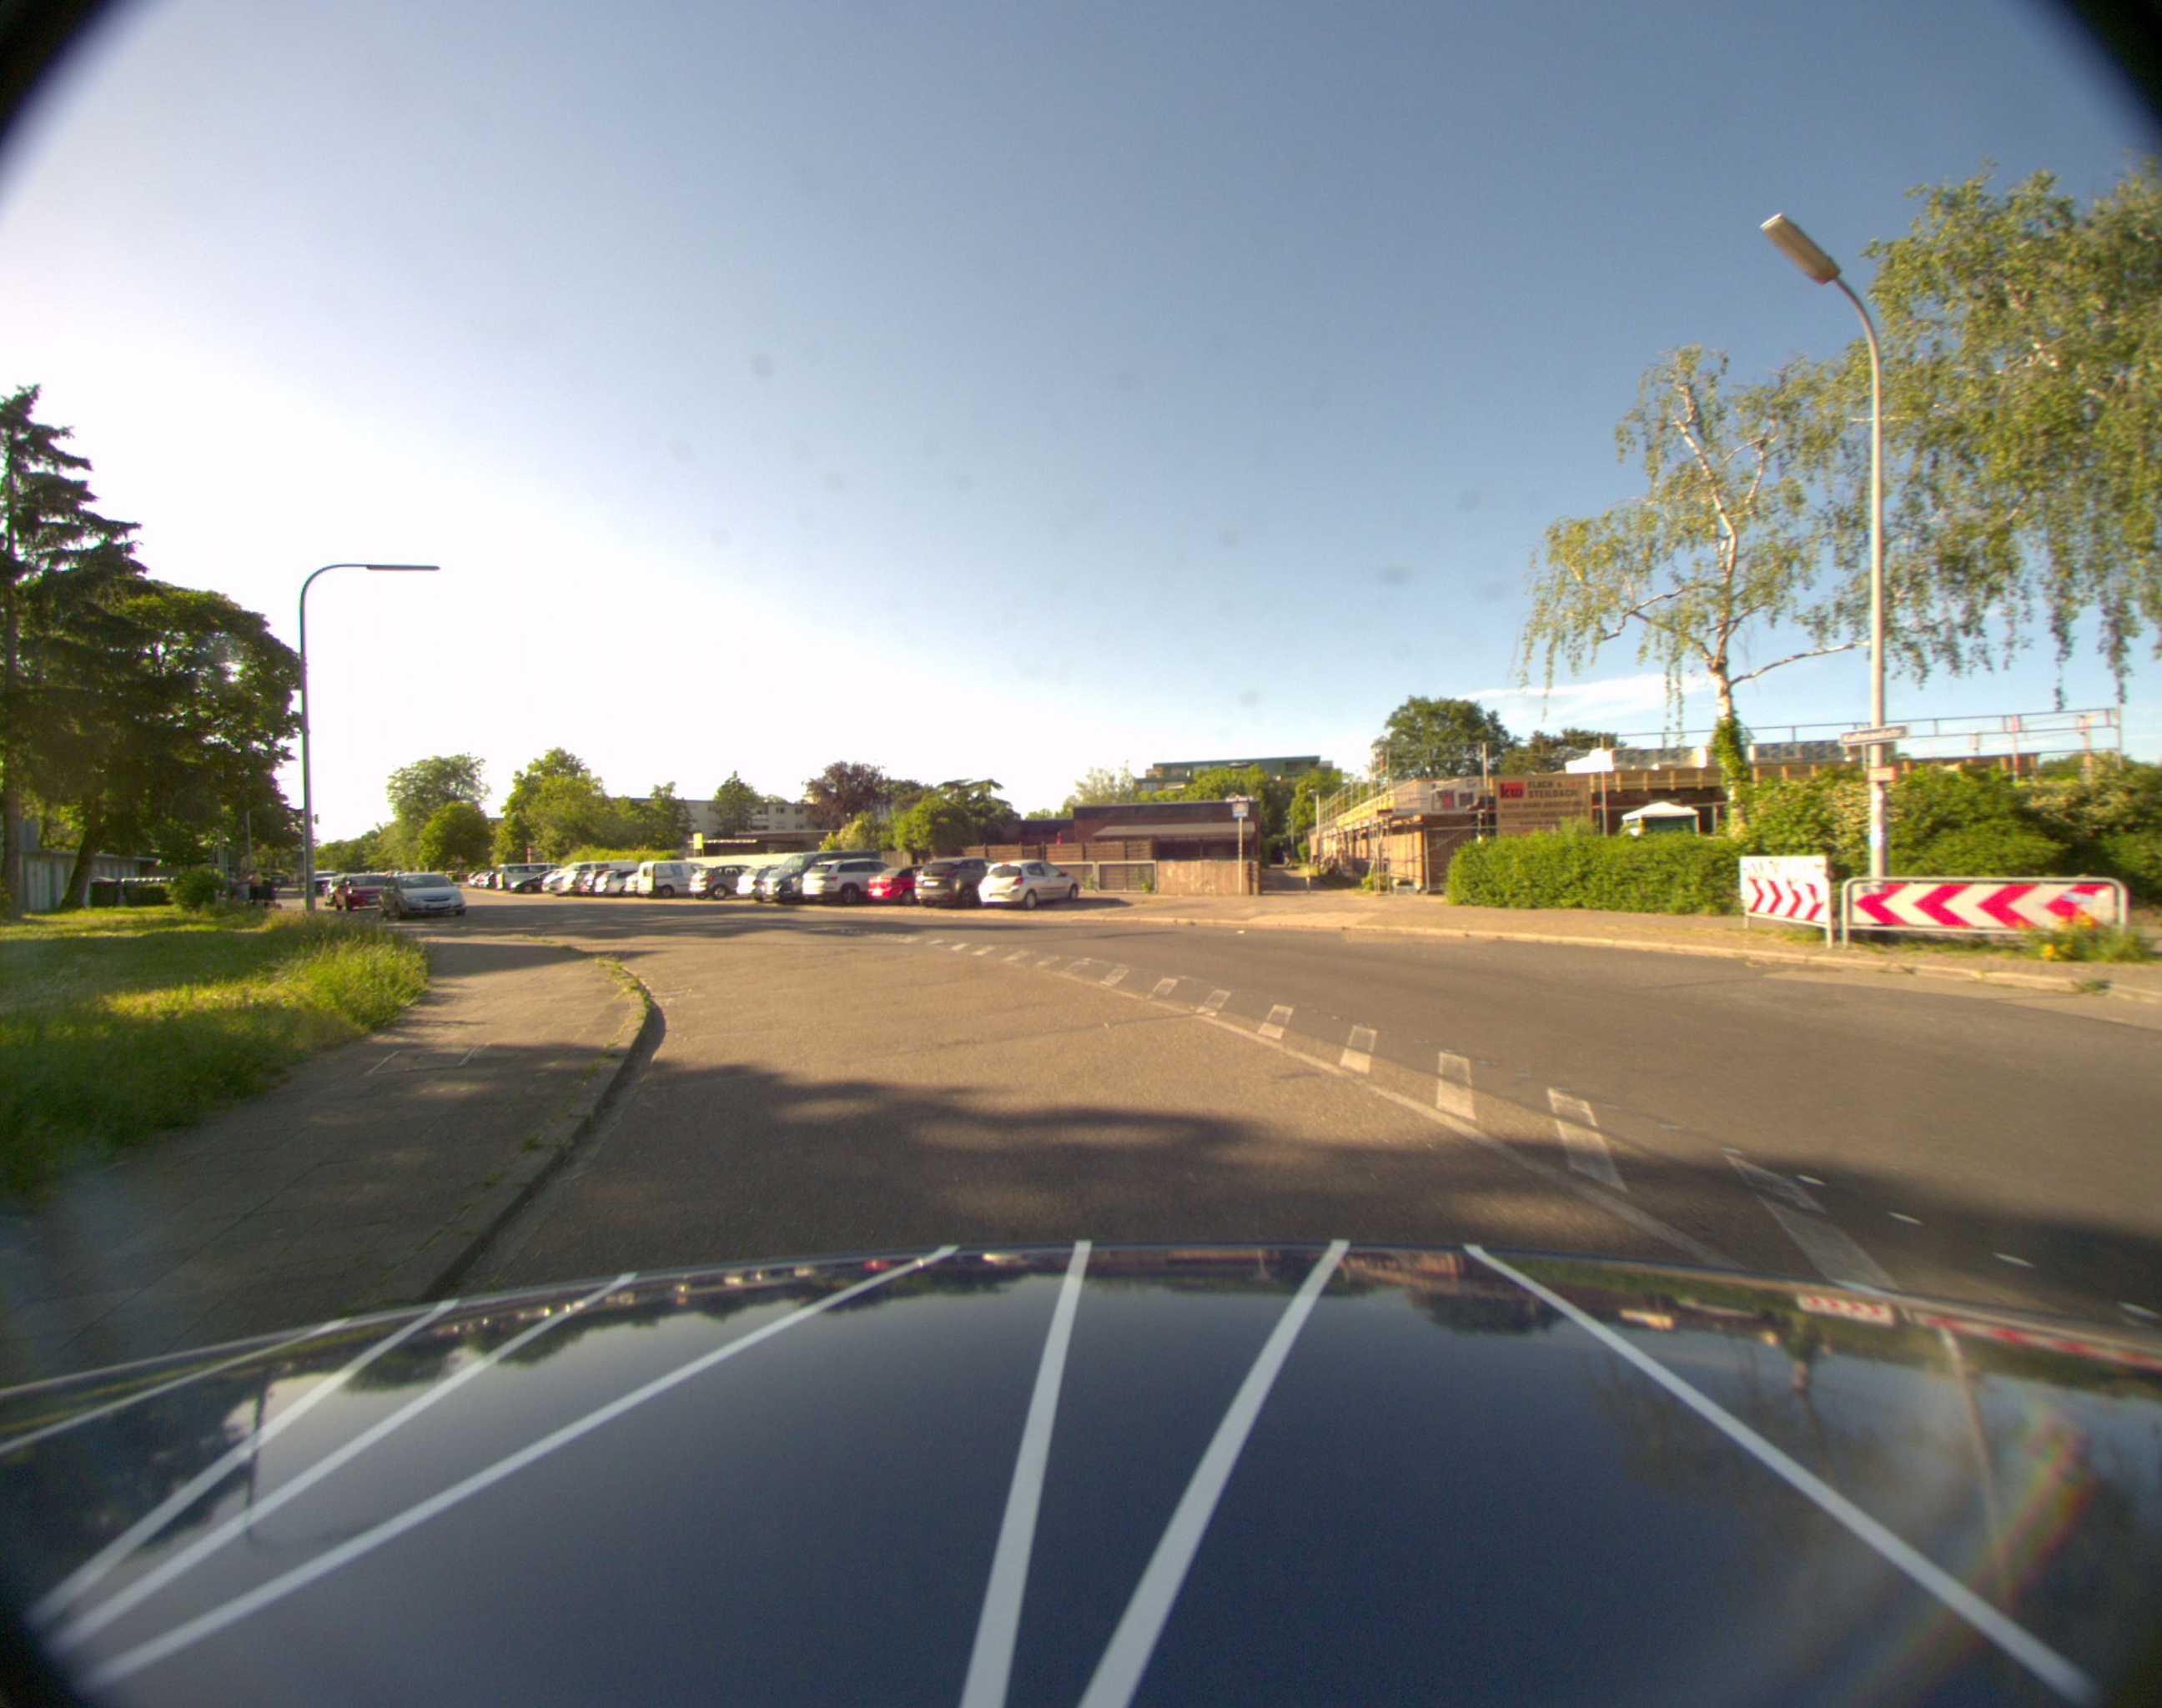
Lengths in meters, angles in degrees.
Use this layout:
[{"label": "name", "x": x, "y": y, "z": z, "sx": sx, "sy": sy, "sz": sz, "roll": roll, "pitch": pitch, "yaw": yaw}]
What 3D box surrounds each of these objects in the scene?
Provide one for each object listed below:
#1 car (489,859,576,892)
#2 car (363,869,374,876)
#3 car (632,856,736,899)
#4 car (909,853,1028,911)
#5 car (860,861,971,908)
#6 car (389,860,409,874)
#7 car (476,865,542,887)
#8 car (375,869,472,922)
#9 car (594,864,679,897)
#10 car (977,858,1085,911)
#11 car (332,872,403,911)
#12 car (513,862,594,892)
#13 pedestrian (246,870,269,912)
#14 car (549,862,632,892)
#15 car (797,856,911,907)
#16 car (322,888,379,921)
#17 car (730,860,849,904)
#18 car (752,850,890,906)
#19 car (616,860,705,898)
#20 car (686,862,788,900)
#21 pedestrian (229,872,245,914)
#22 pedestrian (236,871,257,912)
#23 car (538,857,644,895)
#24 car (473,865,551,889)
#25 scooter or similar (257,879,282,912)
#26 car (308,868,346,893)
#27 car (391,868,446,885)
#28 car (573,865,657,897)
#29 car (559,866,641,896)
[{"label": "car", "x": -38.049, "y": 1.451, "z": 52.790, "sx": 1.994, "sy": 1.966, "sz": 4.501, "roll": 0, "pitch": 3, "yaw": 44}, {"label": "car", "x": -169.764, "y": 4.377, "z": 181.018, "sx": 3.546, "sy": 1.619, "sz": 1.637, "roll": -2, "pitch": -2, "yaw": 45}, {"label": "car", "x": -19.505, "y": 1.123, "z": 37.430, "sx": 1.920, "sy": 1.770, "sz": 3.997, "roll": -2, "pitch": 2, "yaw": 37}, {"label": "car", "x": -3.725, "y": 0.872, "z": 25.825, "sx": 1.814, "sy": 1.603, "sz": 4.006, "roll": -1, "pitch": 3, "yaw": 31}, {"label": "car", "x": -5.916, "y": 1.045, "z": 27.489, "sx": 1.728, "sy": 1.337, "sz": 3.630, "roll": 0, "pitch": 3, "yaw": 38}, {"label": "car", "x": -95.870, "y": 1.892, "z": 106.786, "sx": 1.915, "sy": 1.929, "sz": 4.498, "roll": 1, "pitch": -2, "yaw": -44}, {"label": "car", "x": -46.671, "y": 1.766, "z": 62.061, "sx": 1.786, "sy": 1.471, "sz": 4.007, "roll": -2, "pitch": 2, "yaw": 45}, {"label": "car", "x": -22.176, "y": 1.337, "z": 25.578, "sx": 3.778, "sy": 1.534, "sz": 1.740, "roll": -1, "pitch": 2, "yaw": 38}, {"label": "car", "x": -23.540, "y": 1.361, "z": 40.313, "sx": 1.632, "sy": 1.481, "sz": 3.531, "roll": -1, "pitch": 3, "yaw": 43}, {"label": "car", "x": -1.540, "y": 0.921, "z": 24.534, "sx": 1.630, "sy": 1.450, "sz": 3.705, "roll": -1, "pitch": 1, "yaw": 31}, {"label": "car", "x": -30.093, "y": 1.548, "z": 32.020, "sx": 3.778, "sy": 1.438, "sz": 1.583, "roll": -1, "pitch": 2, "yaw": 38}, {"label": "car", "x": -35.411, "y": 1.520, "z": 51.038, "sx": 4.172, "sy": 1.696, "sz": 1.878, "roll": -4, "pitch": 3, "yaw": -41}, {"label": "pedestrian", "x": -31.106, "y": 1.379, "z": 28.704, "sx": 0.484, "sy": 1.555, "sz": 0.595, "roll": 0, "pitch": 1, "yaw": -39}, {"label": "car", "x": -30.951, "y": 1.417, "z": 48.025, "sx": 1.878, "sy": 1.574, "sz": 4.007, "roll": 0, "pitch": 3, "yaw": 44}, {"label": "car", "x": -8.363, "y": 0.961, "z": 28.226, "sx": 1.728, "sy": 1.598, "sz": 3.630, "roll": 0, "pitch": 3, "yaw": 38}, {"label": "car", "x": -35.727, "y": 2.418, "z": 37.139, "sx": 3.870, "sy": 1.395, "sz": 1.656, "roll": 0, "pitch": 1, "yaw": 41}, {"label": "car", "x": -12.119, "y": 1.101, "z": 31.818, "sx": 1.920, "sy": 1.484, "sz": 4.158, "roll": 0, "pitch": 3, "yaw": 39}, {"label": "car", "x": -10.192, "y": 0.877, "z": 30.184, "sx": 1.994, "sy": 1.904, "sz": 4.897, "roll": -1, "pitch": 1, "yaw": 34}, {"label": "car", "x": -21.505, "y": 1.245, "z": 38.946, "sx": 1.722, "sy": 1.481, "sz": 3.530, "roll": 2, "pitch": 6, "yaw": 39}, {"label": "car", "x": -15.713, "y": 1.189, "z": 34.847, "sx": 1.784, "sy": 1.524, "sz": 3.833, "roll": -1, "pitch": 1, "yaw": 35}, {"label": "pedestrian", "x": -31.140, "y": 1.433, "z": 28.032, "sx": 0.499, "sy": 1.494, "sz": 0.363, "roll": 1, "pitch": 1, "yaw": 38}, {"label": "pedestrian", "x": -32.047, "y": 1.430, "z": 29.185, "sx": 0.467, "sy": 1.555, "sz": 0.488, "roll": 1, "pitch": 1, "yaw": 37}, {"label": "car", "x": -29.260, "y": 1.264, "z": 45.516, "sx": 2.076, "sy": 1.910, "sz": 4.813, "roll": -1, "pitch": 3, "yaw": 39}, {"label": "car", "x": -43.993, "y": 1.756, "z": 58.833, "sx": 1.743, "sy": 1.471, "sz": 4.567, "roll": -2, "pitch": 2, "yaw": 45}, {"label": "scooter or similar", "x": -31.677, "y": 1.601, "z": 29.653, "sx": 0.902, "sy": 1.220, "sz": 0.626, "roll": 0, "pitch": 0, "yaw": 40}, {"label": "car", "x": -59.960, "y": 2.105, "z": 60.395, "sx": 5.260, "sy": 1.830, "sz": 1.916, "roll": -2, "pitch": 2, "yaw": 44}, {"label": "car", "x": -69.661, "y": 2.390, "z": 79.974, "sx": 1.560, "sy": 1.449, "sz": 4.004, "roll": -1, "pitch": 2, "yaw": 20}, {"label": "car", "x": -25.605, "y": 1.457, "z": 41.818, "sx": 1.632, "sy": 1.480, "sz": 3.531, "roll": -3, "pitch": 1, "yaw": 39}, {"label": "car", "x": -27.485, "y": 1.503, "z": 43.460, "sx": 1.632, "sy": 1.438, "sz": 3.531, "roll": -1, "pitch": 3, "yaw": 36}]
